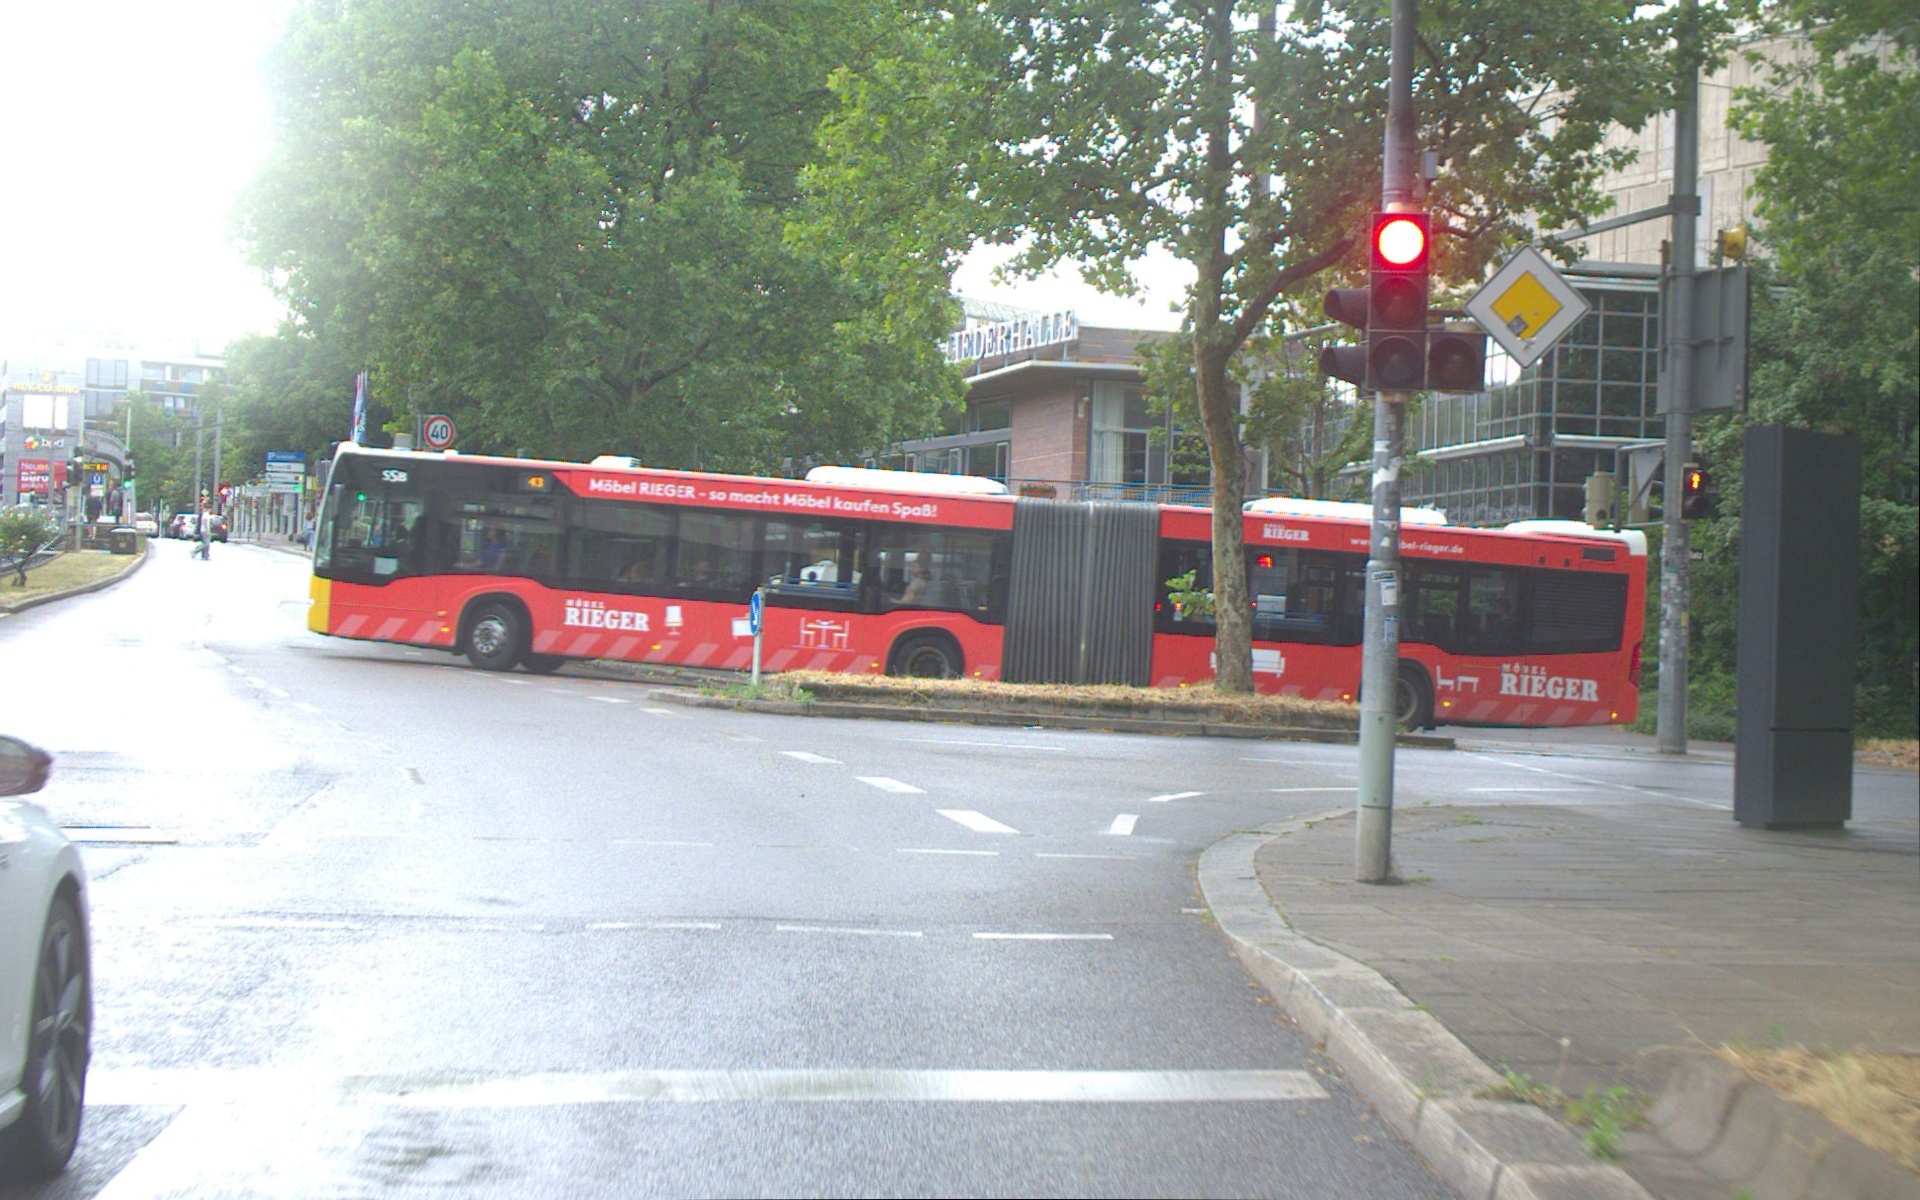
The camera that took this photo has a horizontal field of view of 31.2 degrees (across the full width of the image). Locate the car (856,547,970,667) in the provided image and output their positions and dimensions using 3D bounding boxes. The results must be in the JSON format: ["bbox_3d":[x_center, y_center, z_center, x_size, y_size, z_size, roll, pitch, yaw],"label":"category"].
[{"bbox_3d":[-1.357,0.175,96.725,2.544,3.123,5.032,4,0,-6],"label":"car"}]

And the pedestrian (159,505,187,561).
[{"bbox_3d":[-47.097,-3.994,205.800,1.353,3.241,0.983,4,0,-7],"label":"pedestrian"}]

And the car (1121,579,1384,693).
[{"bbox_3d":[5.857,0.726,68.850,4.745,1.937,2.001,4,0,-23],"label":"car"}]

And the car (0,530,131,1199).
[{"bbox_3d":[-2.780,0.653,6.036,1.679,1.571,4.253,2,1,-1],"label":"car"}]

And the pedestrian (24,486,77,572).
[{"bbox_3d":[-18.065,-1.403,68.296,0.738,1.634,0.871,4,0,-1],"label":"pedestrian"}]

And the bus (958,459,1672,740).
[{"bbox_3d":[4.722,0.004,46.719,9.153,3.100,2.664,4,0,-4],"label":"bus"}]

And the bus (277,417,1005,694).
[{"bbox_3d":[-4.307,-0.599,47.143,9.427,3.100,2.558,4,0,8],"label":"bus"}]

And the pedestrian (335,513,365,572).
[{"bbox_3d":[-19.288,-1.822,108.700,0.756,1.817,0.701,4,0,-14],"label":"pedestrian"}]
